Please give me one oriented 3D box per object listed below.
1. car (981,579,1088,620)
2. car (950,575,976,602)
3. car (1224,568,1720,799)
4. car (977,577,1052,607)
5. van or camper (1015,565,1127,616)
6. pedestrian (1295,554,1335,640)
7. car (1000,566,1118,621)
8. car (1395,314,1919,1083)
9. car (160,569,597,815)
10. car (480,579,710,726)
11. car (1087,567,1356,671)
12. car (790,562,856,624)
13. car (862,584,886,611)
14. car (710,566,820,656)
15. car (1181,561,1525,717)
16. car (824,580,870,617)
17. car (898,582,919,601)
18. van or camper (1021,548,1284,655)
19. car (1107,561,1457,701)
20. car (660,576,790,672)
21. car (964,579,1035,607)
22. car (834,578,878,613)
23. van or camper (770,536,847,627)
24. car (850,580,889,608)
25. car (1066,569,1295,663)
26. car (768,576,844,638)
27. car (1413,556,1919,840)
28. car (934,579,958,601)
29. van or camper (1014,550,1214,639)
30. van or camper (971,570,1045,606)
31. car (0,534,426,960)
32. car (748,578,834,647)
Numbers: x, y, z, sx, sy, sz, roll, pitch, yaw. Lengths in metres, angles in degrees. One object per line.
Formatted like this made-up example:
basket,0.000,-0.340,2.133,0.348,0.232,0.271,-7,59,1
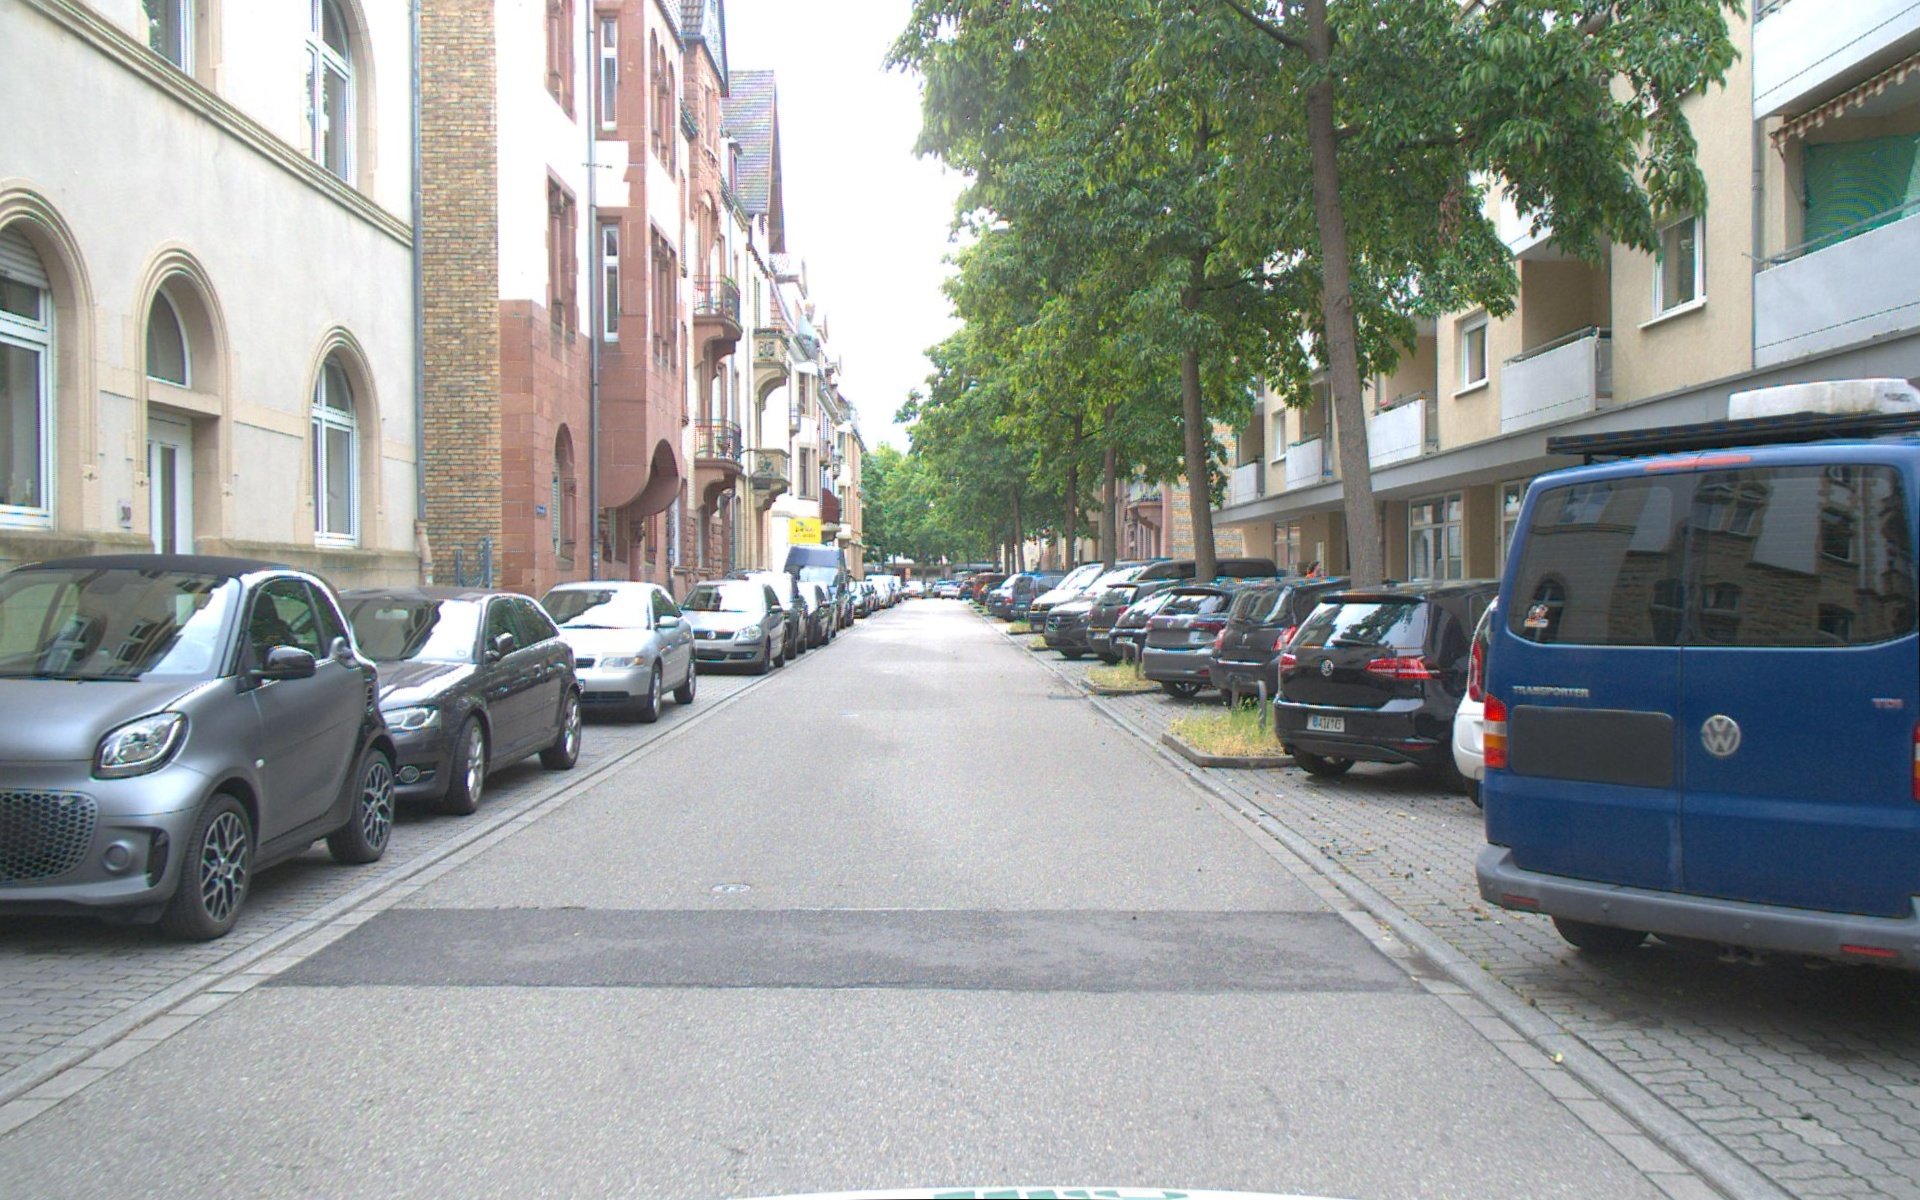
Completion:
car,2.998,-0.026,66.416,3.971,1.586,1.864,-1,0,-32
car,0.244,-0.952,136.819,1.953,2.048,3.999,2,1,-1
car,4.059,0.523,12.794,4.078,1.467,1.825,-2,1,-41
car,2.794,-0.410,85.944,3.689,1.490,1.727,-1,1,-7
van or camper,4.957,-0.437,73.668,4.729,2.175,2.033,1,1,-32
pedestrian,7.494,-0.071,34.933,0.611,1.772,0.849,-1,0,-1
car,3.819,-0.238,63.601,4.130,1.902,1.979,-3,0,-31
car,4.046,0.175,6.900,4.666,2.234,2.036,-4,2,-41
car,-3.823,0.554,11.621,1.691,1.411,3.928,1,-1,-1
car,-3.922,0.493,18.415,1.691,1.410,4.136,1,1,-1
car,4.293,0.280,27.101,3.991,1.509,1.931,-2,0,-27
car,-4.766,-0.265,58.106,1.953,2.049,4.890,-1,1,-1
car,-4.414,-0.124,84.731,1.113,1.332,3.259,-1,1,-2
car,-3.872,0.171,33.478,1.750,1.675,4.361,1,1,-1
car,4.406,0.396,18.628,3.315,1.522,1.839,-2,0,-24
car,-4.739,-0.091,69.753,1.753,1.506,4.021,1,0,-2
car,-4.592,-0.753,148.007,1.784,1.673,3.752,1,-1,-1
van or camper,3.899,-0.002,33.340,4.951,1.902,2.107,-3,1,-29
car,4.200,0.359,21.490,4.167,1.526,1.957,-3,0,-29
car,-3.818,0.341,27.406,1.629,1.445,3.928,1,1,-1
car,2.139,-0.398,90.462,3.689,1.490,1.727,-1,1,-7
car,-4.698,-0.234,74.886,1.792,1.451,3.800,2,1,-1
van or camper,-4.741,-0.577,52.340,1.967,2.698,5.315,-1,1,-1
car,-5.051,-0.335,92.662,1.953,1.501,3.999,-1,1,-1
car,4.046,0.264,30.310,3.809,1.528,1.893,-2,0,-30
car,-3.966,0.186,43.161,1.634,1.499,3.999,1,-1,-1
car,4.964,0.493,10.595,3.860,1.491,1.807,-1,1,-30
car,-1.211,-0.828,142.638,1.953,1.825,3.998,1,-1,-2
van or camper,3.914,-0.137,41.993,4.673,2.029,1.983,-2,-1,-27
van or camper,2.905,-0.725,99.761,4.101,2.122,1.934,-1,1,-29
car,-3.745,0.508,7.695,1.613,1.598,2.956,1,2,-2
car,-3.869,0.257,38.445,1.601,1.498,4.000,1,1,-1
